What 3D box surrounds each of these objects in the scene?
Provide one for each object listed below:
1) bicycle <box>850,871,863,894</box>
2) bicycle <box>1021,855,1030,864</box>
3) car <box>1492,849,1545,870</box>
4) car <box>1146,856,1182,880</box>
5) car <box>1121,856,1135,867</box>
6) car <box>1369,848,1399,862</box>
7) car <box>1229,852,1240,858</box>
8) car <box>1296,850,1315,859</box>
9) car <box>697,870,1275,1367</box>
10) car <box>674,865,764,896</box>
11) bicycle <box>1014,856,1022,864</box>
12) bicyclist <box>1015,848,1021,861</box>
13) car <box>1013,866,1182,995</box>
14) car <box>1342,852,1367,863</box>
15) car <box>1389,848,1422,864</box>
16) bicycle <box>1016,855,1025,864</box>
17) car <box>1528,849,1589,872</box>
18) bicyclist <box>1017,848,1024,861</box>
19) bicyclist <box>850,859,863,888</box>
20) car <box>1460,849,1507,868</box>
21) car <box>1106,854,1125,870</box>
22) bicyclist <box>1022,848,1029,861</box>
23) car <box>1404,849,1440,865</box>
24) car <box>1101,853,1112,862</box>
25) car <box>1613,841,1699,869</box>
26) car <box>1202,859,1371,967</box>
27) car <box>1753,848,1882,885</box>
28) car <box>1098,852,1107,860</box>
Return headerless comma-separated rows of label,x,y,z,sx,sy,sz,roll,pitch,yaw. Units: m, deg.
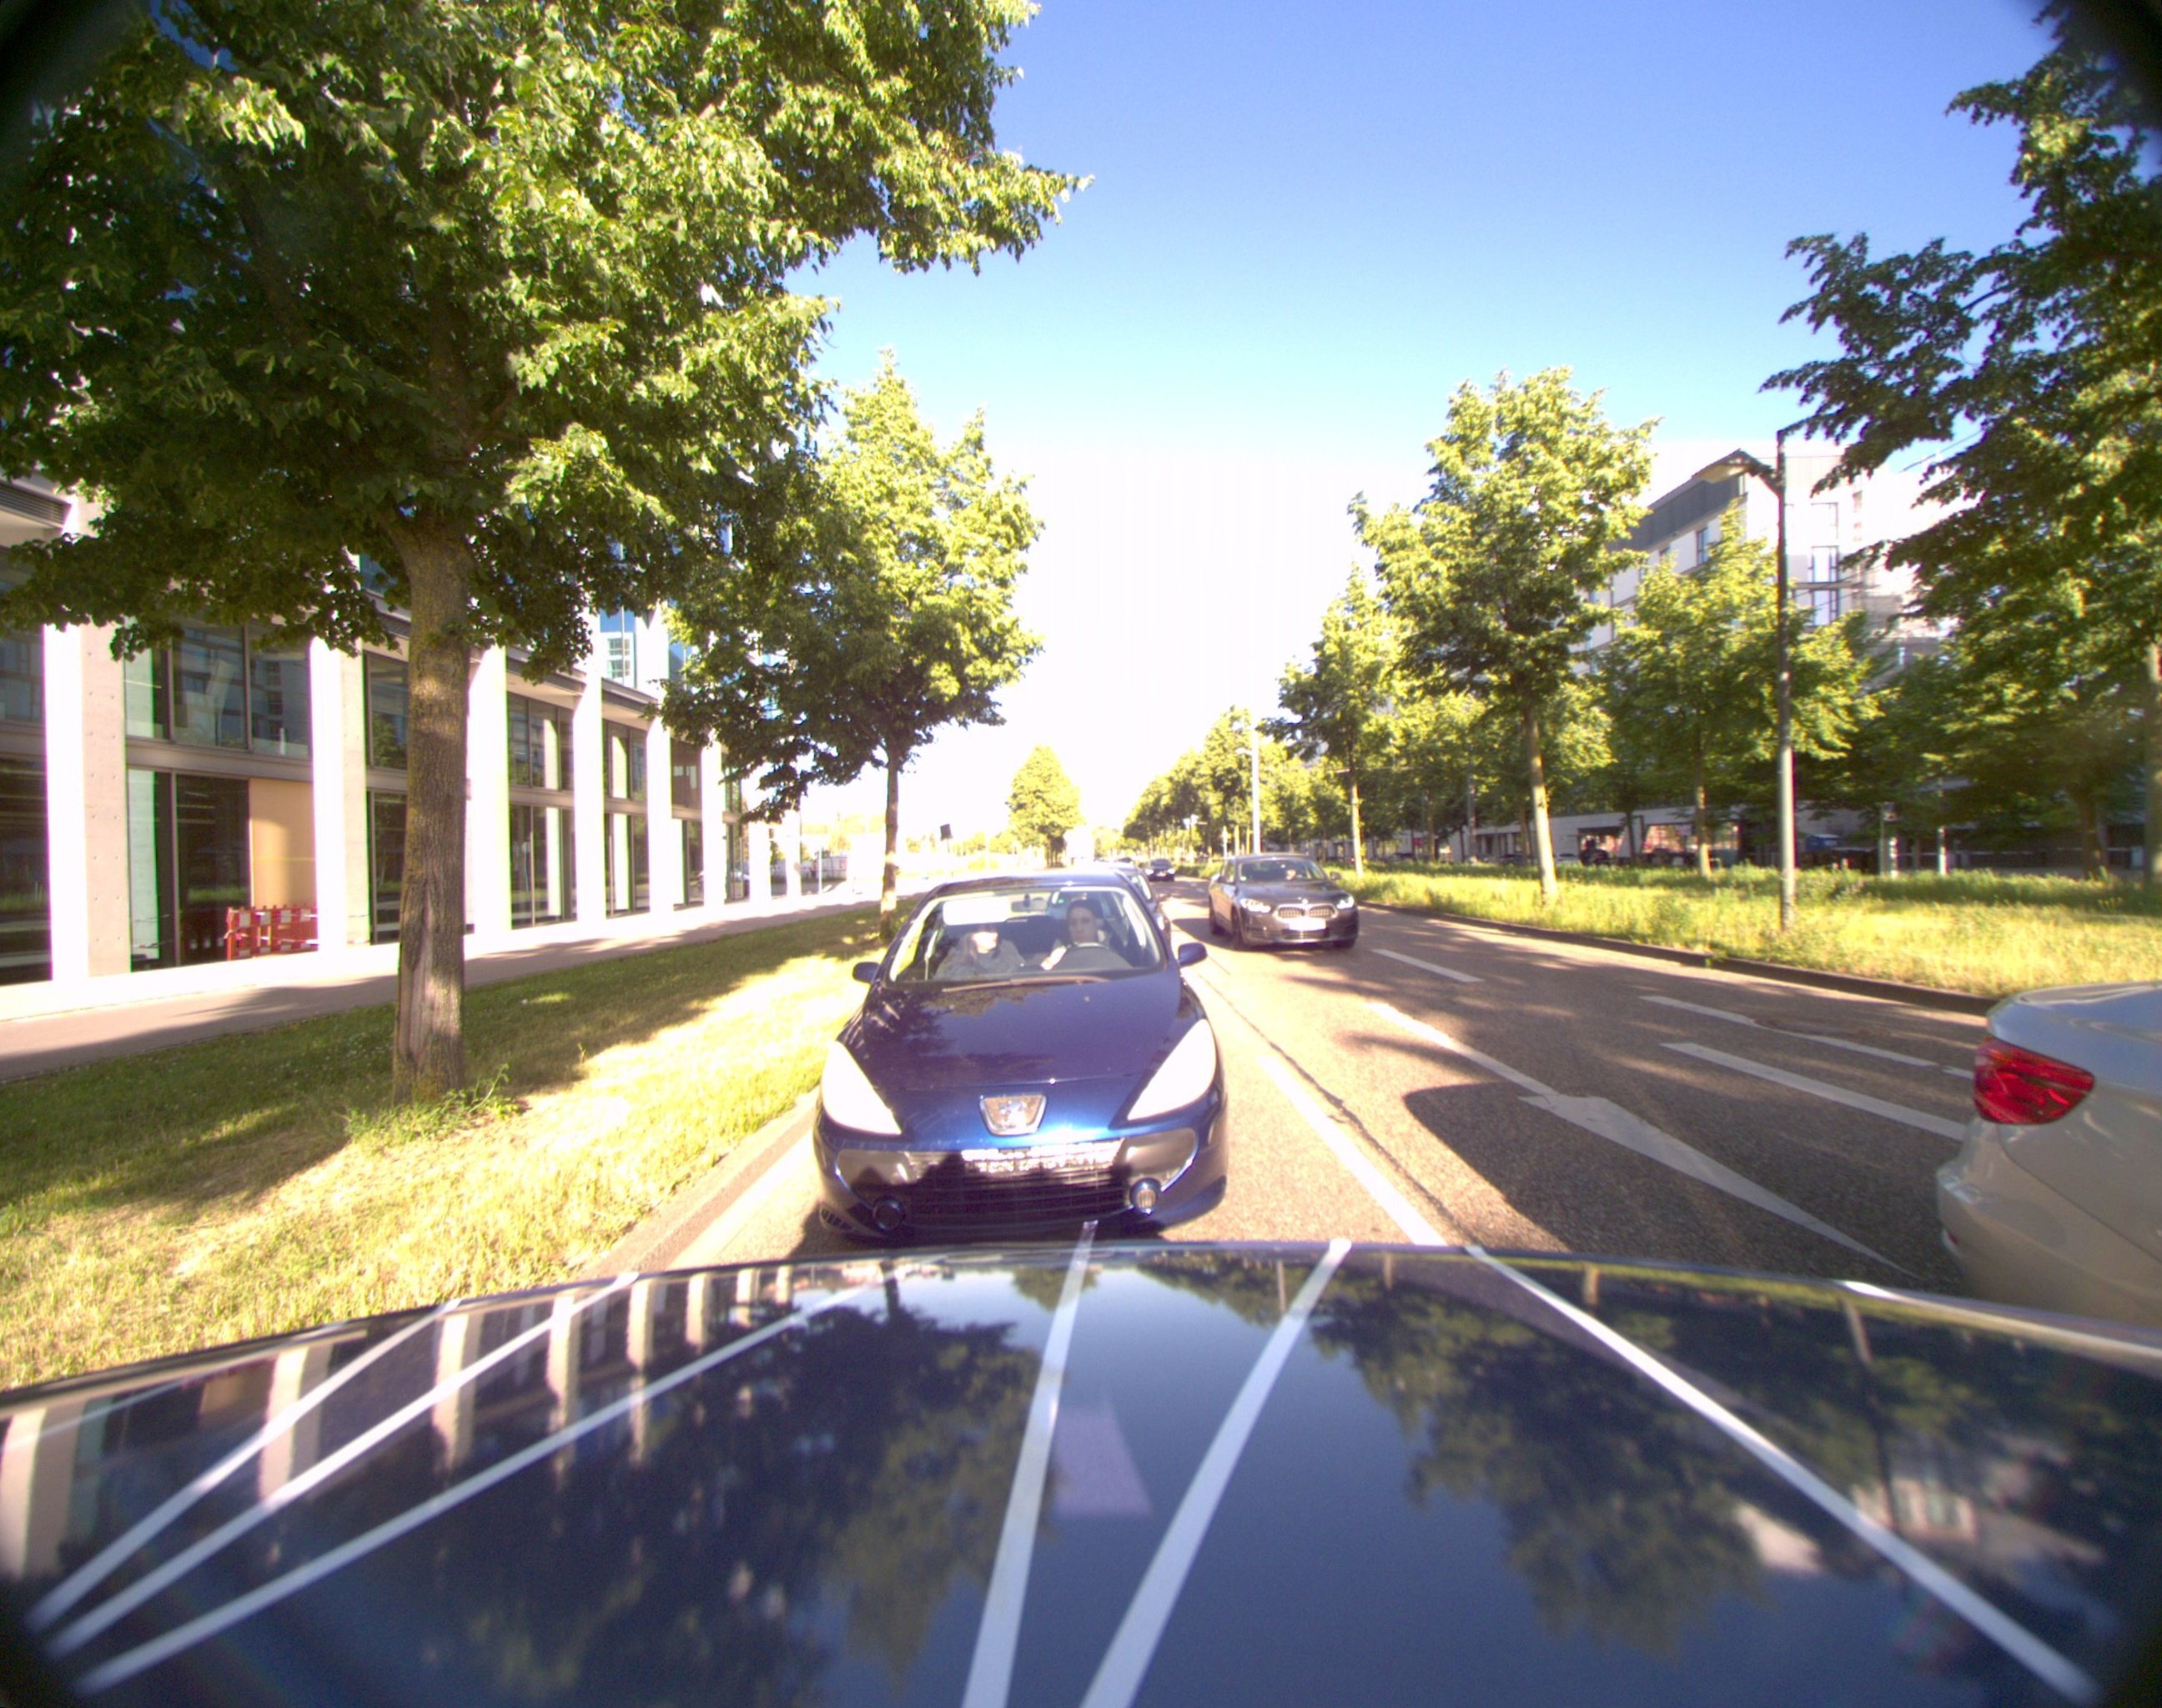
bicycle,-11.978,1.501,40.532,0.592,1.149,1.925,1,0,-15
bicycle,-8.883,0.866,121.700,0.931,1.355,4.000,-1,0,1
car,35.197,0.419,61.241,1.884,1.588,4.184,-1,0,1
car,5.180,0.843,47.882,1.878,1.415,4.344,-1,0,2
car,6.762,1.093,110.277,1.878,1.577,4.344,-1,0,2
car,35.511,0.153,89.035,1.884,1.588,4.184,-1,0,1
car,36.128,0.192,179.241,1.998,1.387,4.001,-1,0,4
car,36.621,0.027,124.163,1.998,1.387,4.000,-1,0,1
car,-0.280,0.917,4.720,1.846,1.473,4.481,-2,0,1
car,-20.033,1.439,42.162,3.996,1.569,2.000,-1,0,3
bicycle,-10.063,0.943,121.392,0.931,1.355,4.000,-1,0,1
bicyclist,-10.073,0.149,121.402,0.931,2.045,1.121,-1,1,1
car,0.228,0.959,11.468,1.998,1.437,4.622,-1,0,1
car,35.375,0.465,98.336,1.998,1.387,4.001,-1,0,4
car,35.453,0.209,83.114,1.884,1.588,4.184,-1,0,1
bicycle,-10.005,0.901,125.779,0.931,1.355,4.000,-1,0,1
car,34.912,0.486,55.704,1.884,1.588,4.184,-1,0,1
bicyclist,-10.006,0.108,125.507,0.931,2.045,1.121,-1,1,1
bicyclist,-11.969,1.036,40.525,0.592,1.530,0.698,1,0,-15
car,35.164,0.374,66.524,1.884,1.588,4.184,-1,0,1
car,3.495,0.814,77.622,1.724,1.516,4.000,-1,0,1
bicyclist,-8.905,0.074,121.604,0.931,2.045,1.121,-1,1,1
car,35.041,0.279,78.206,1.884,1.588,4.184,-1,0,1
car,4.481,0.594,133.796,1.878,1.561,4.344,-1,0,2
car,34.234,0.058,45.378,1.951,1.588,4.184,-1,0,1
car,3.274,0.868,12.955,1.861,1.482,4.000,-1,0,1
car,34.094,0.548,35.362,1.951,1.588,4.184,-1,0,1
car,4.487,0.419,158.405,1.879,1.561,4.344,-1,0,1
